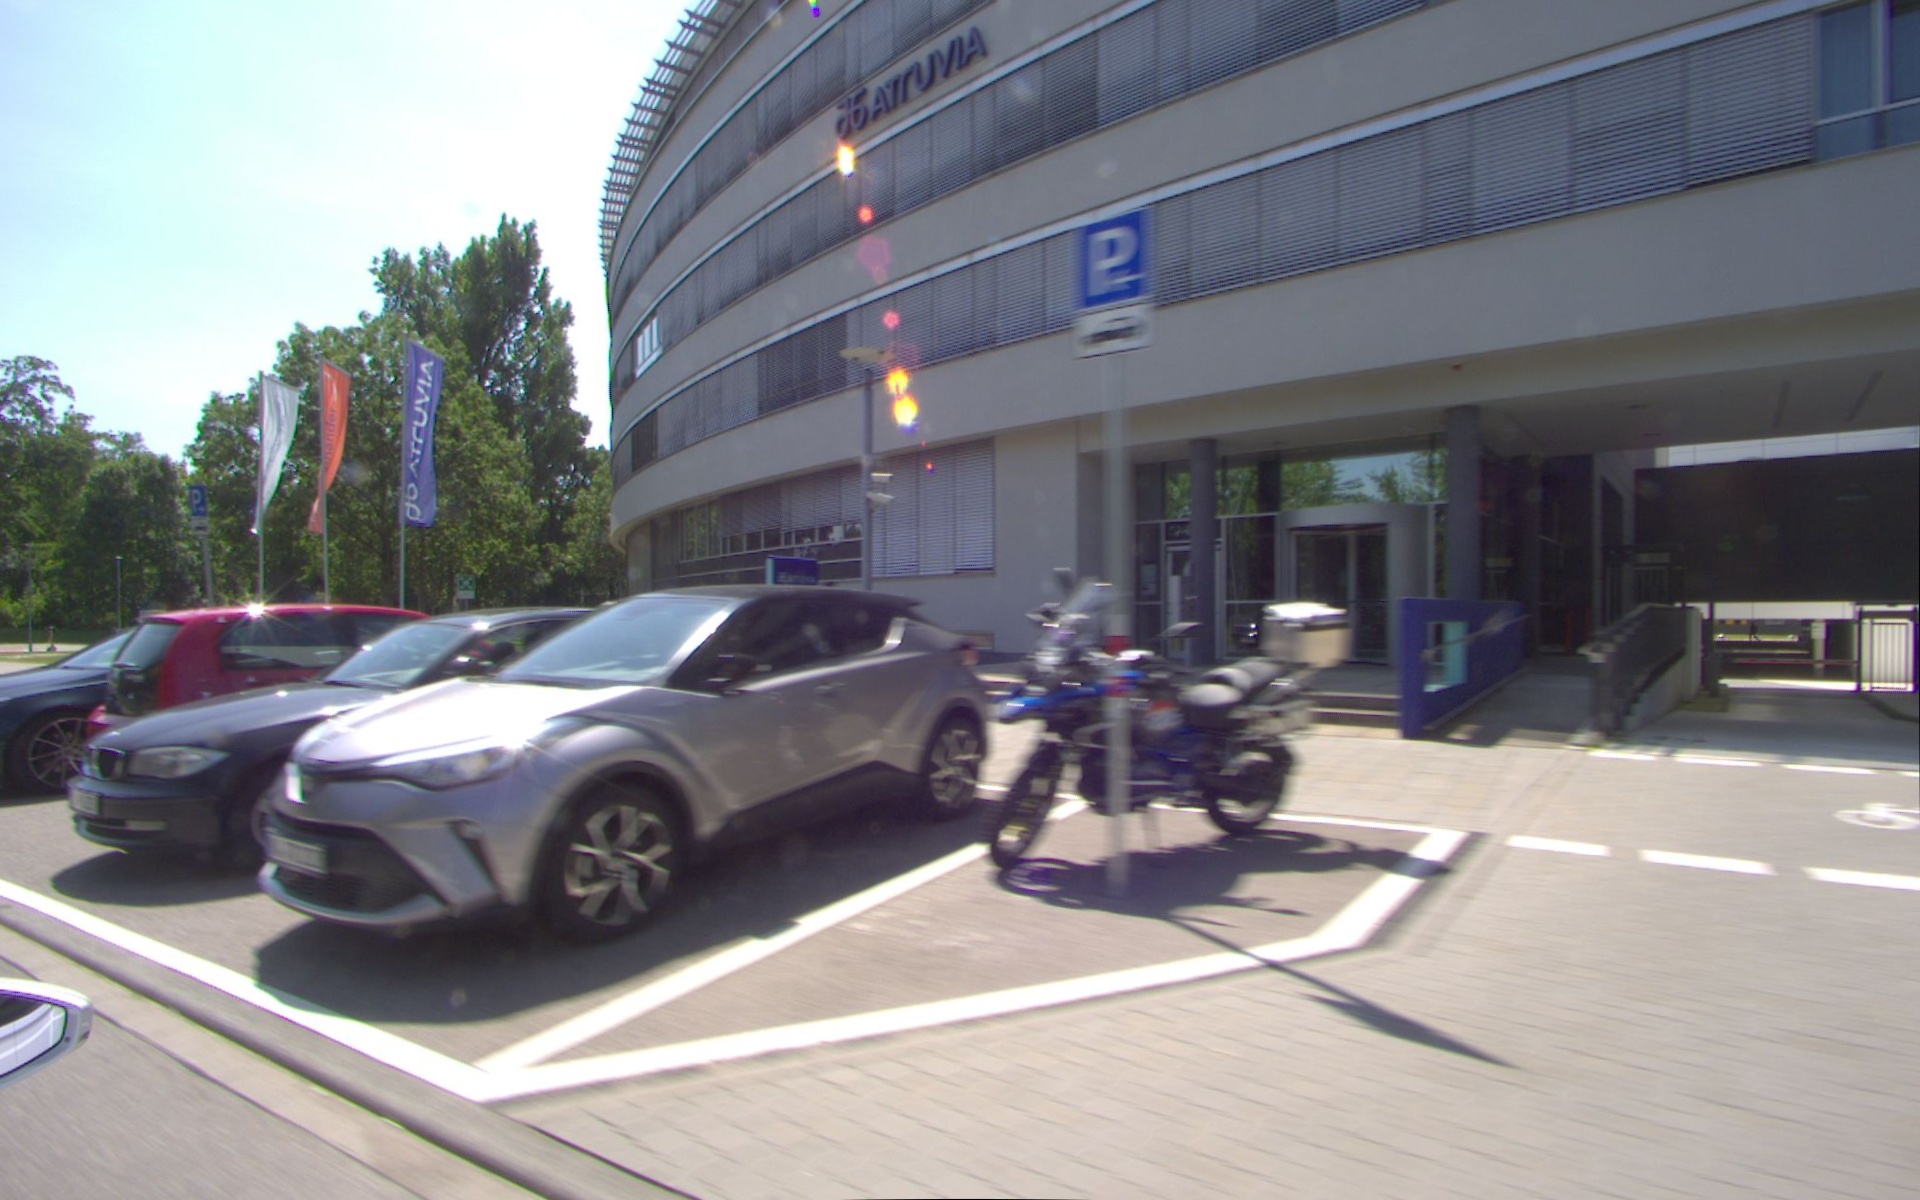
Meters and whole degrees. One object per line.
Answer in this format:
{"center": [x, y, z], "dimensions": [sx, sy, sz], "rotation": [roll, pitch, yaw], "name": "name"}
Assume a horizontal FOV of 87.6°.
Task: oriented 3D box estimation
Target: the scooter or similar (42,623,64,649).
{"center": [-43.298, 1.721, 47.813], "dimensions": [0.441, 1.217, 1.392], "rotation": [1, -2, -29], "name": "scooter or similar"}

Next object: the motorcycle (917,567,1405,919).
{"center": [1.117, 0.592, 5.451], "dimensions": [2.410, 1.518, 1.219], "rotation": [-1, 2, -30], "name": "motorcycle"}

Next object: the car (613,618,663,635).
{"center": [-27.902, 2.337, 86.814], "dimensions": [1.862, 1.434, 3.763], "rotation": [-1, -2, 41], "name": "car"}

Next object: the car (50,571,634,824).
{"center": [-5.101, 0.667, 8.787], "dimensions": [1.815, 1.677, 3.975], "rotation": [-1, -1, 35], "name": "car"}

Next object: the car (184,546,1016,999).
{"center": [-1.535, 0.588, 5.784], "dimensions": [1.762, 1.584, 4.308], "rotation": [-1, 0, 34], "name": "car"}

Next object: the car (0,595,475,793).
{"center": [-7.292, 0.733, 9.520], "dimensions": [1.801, 1.451, 4.557], "rotation": [-1, 1, 32], "name": "car"}

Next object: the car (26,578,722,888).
{"center": [-3.659, 0.649, 6.895], "dimensions": [1.633, 1.506, 3.796], "rotation": [-1, 0, 35], "name": "car"}

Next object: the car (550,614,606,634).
{"center": [-31.281, 1.976, 82.119], "dimensions": [1.681, 1.505, 3.973], "rotation": [3, 0, 38], "name": "car"}
